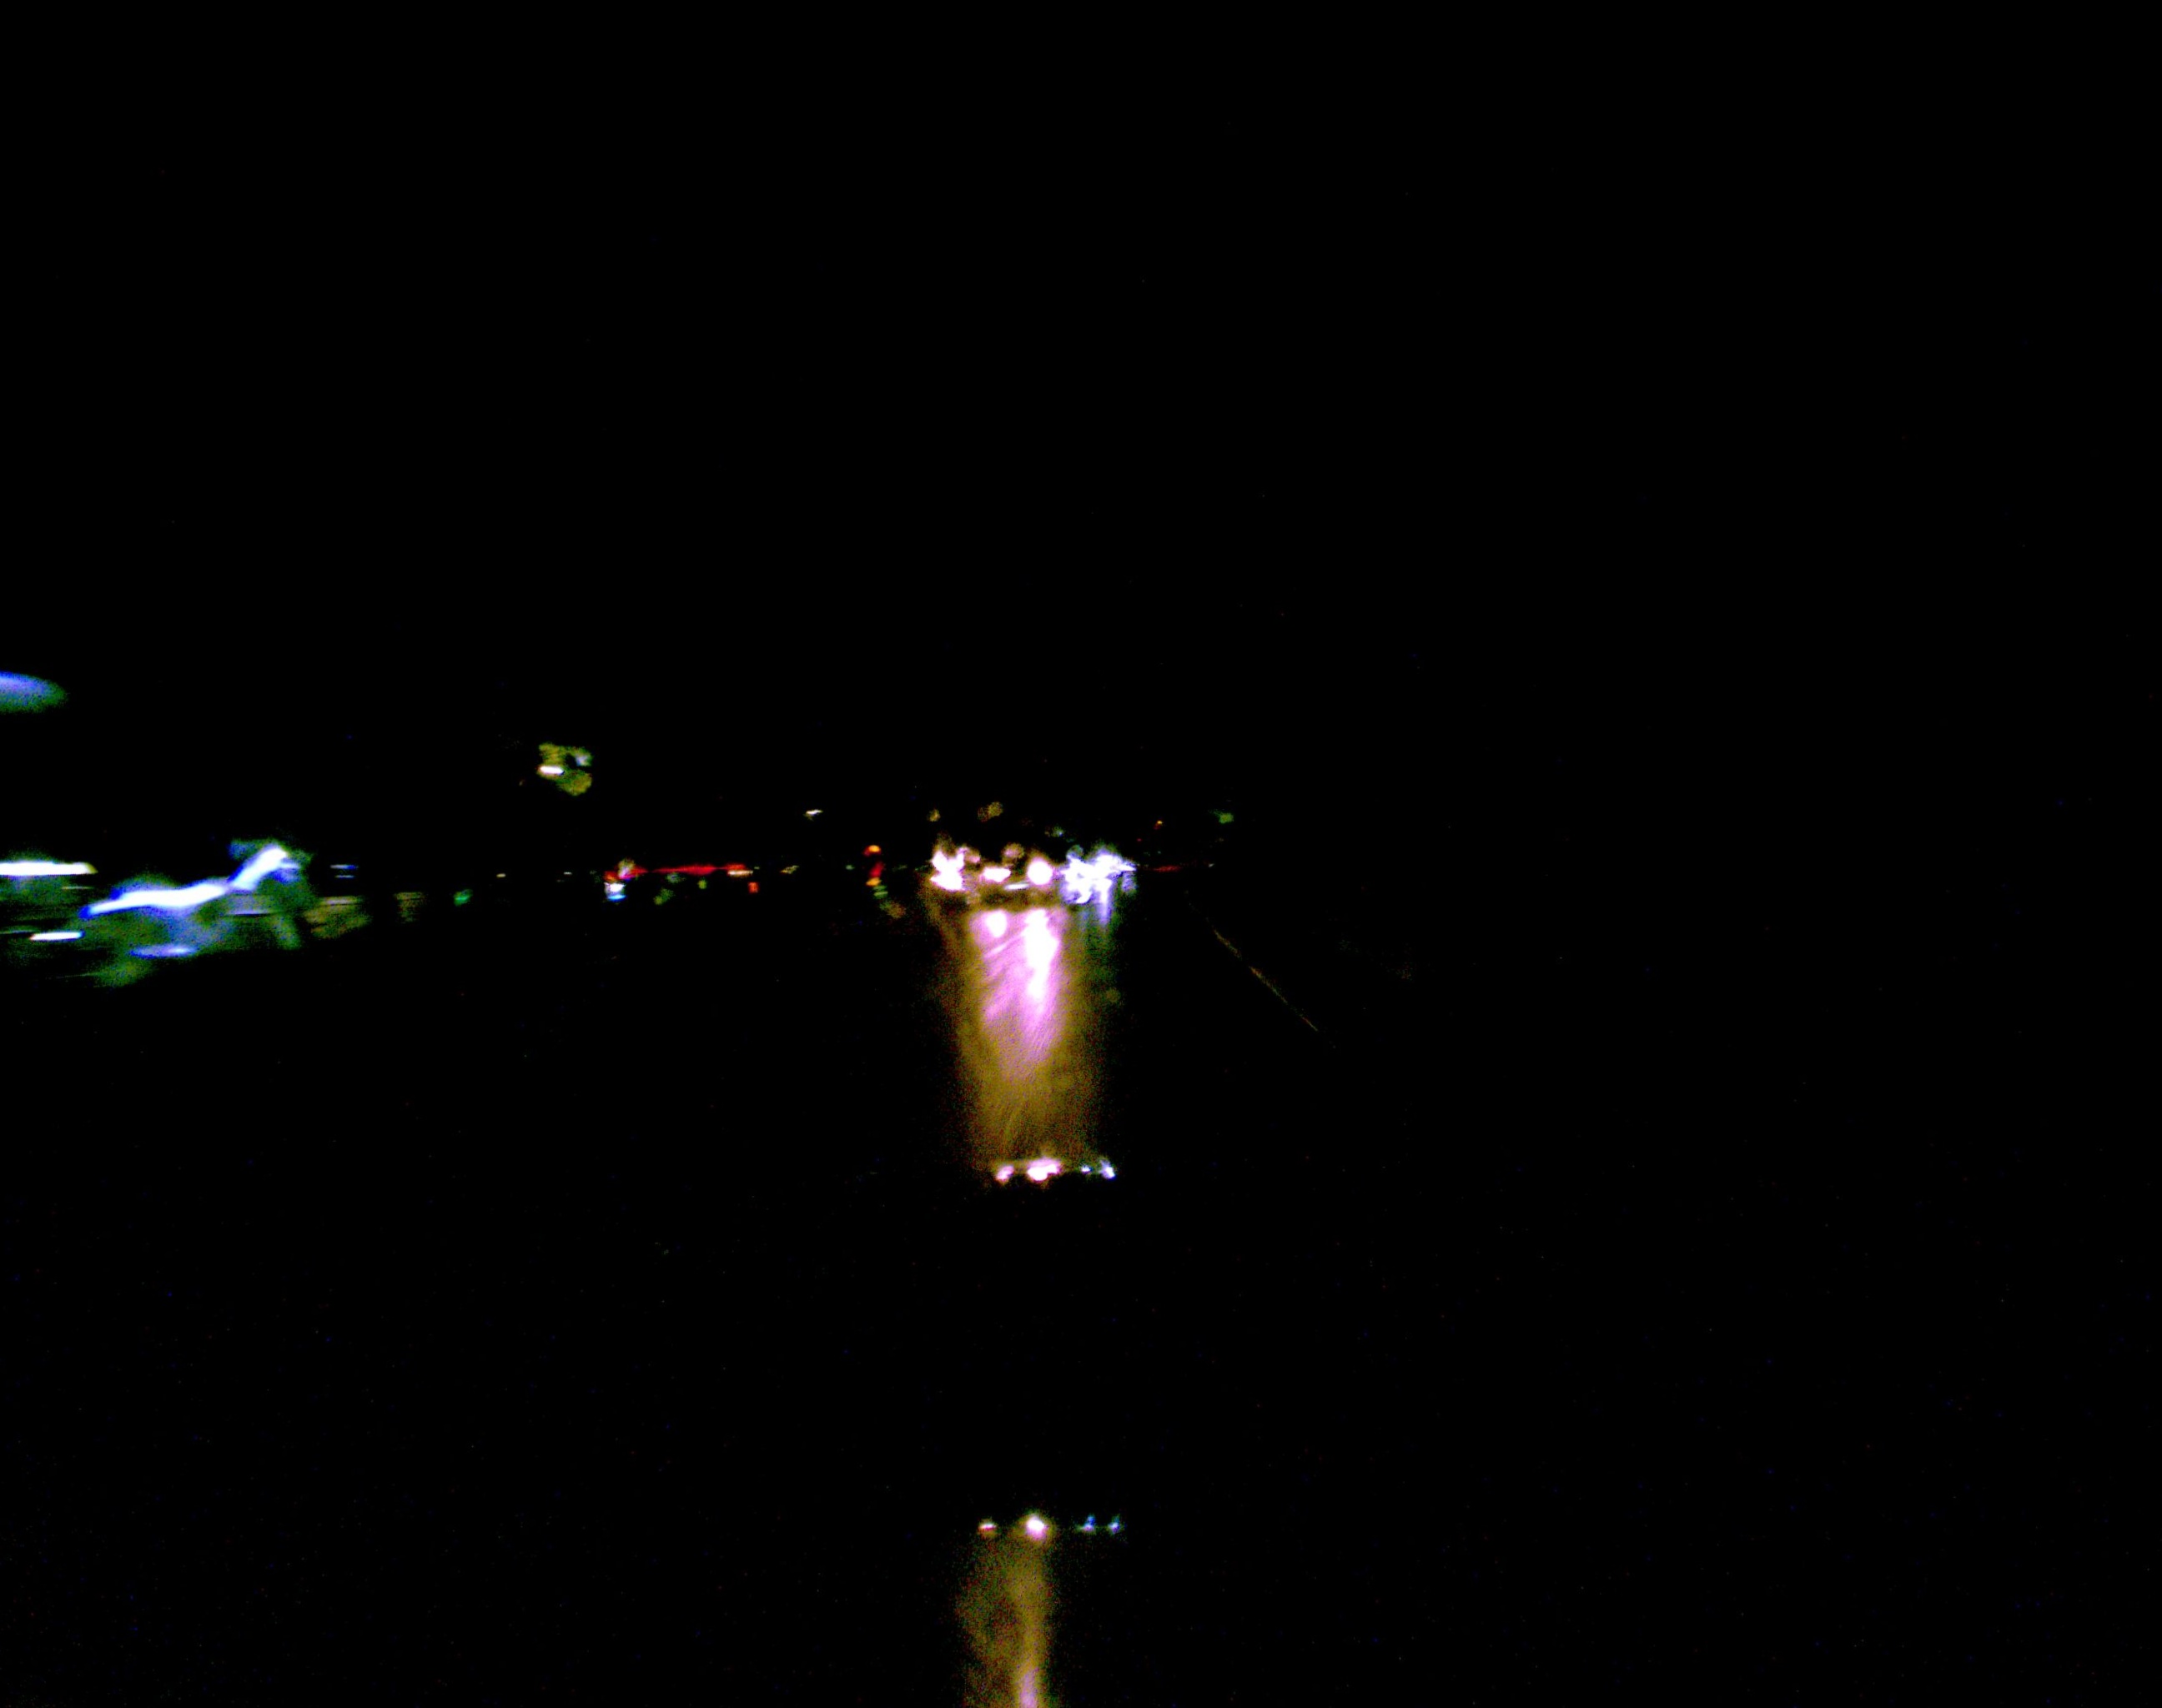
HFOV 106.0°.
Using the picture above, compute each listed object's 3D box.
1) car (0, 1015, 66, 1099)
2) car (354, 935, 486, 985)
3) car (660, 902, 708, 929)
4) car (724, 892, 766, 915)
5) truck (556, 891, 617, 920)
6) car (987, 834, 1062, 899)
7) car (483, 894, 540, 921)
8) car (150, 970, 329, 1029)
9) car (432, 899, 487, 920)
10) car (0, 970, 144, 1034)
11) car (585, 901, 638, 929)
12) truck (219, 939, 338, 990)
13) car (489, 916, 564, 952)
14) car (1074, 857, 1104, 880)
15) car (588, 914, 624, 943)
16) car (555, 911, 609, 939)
[{"bbox_3d":[-29.179,5.478,20.911,1.714,1.907,3.716,-1,0,-5],"label":"car"},{"bbox_3d":[-28.037,4.476,34.633,3.972,1.455,1.912,-7,-1,2],"label":"car"},{"bbox_3d":[-29.133,4.482,59.903,1.741,1.618,3.511,-5,-1,-1],"label":"car"},{"bbox_3d":[-29.269,4.296,71.151,1.766,1.596,4.000,-7,-1,1],"label":"car"},{"bbox_3d":[-48.242,4.947,79.623,2.315,2.463,6.484,-1,-1,-3],"label":"truck"},{"bbox_3d":[-1.827,0.378,27.975,1.883,2.002,4.886,0,0,4],"label":"car"},{"bbox_3d":[-54.236,5.036,77.627,1.984,2.265,4.464,-1,-1,5],"label":"car"},{"bbox_3d":[-27.642,4.764,26.837,3.972,1.201,1.848,-7,-1,2],"label":"car"},{"bbox_3d":[-59.139,5.291,77.531,1.849,1.712,4.008,-1,-1,7],"label":"car"},{"bbox_3d":[-35.132,5.022,27.552,4.012,1.640,1.981,-1,0,-30],"label":"car"},{"bbox_3d":[-34.063,4.401,59.188,1.741,1.618,3.511,-5,-1,-1],"label":"car"},{"bbox_3d":[-45.233,6.191,46.072,2.078,2.118,4.493,-7,-1,-1],"label":"truck"},{"bbox_3d":[-31.508,4.495,46.479,1.998,1.567,4.827,-5,-1,-16],"label":"car"},{"bbox_3d":[0.526,0.884,51.329,1.583,1.379,4.330,0,0,5],"label":"car"},{"bbox_3d":[-30.431,4.731,52.118,1.824,1.567,4.165,-5,-1,-31],"label":"car"},{"bbox_3d":[-36.410,5.177,59.527,1.675,1.618,3.511,-5,-1,-1],"label":"car"}]
